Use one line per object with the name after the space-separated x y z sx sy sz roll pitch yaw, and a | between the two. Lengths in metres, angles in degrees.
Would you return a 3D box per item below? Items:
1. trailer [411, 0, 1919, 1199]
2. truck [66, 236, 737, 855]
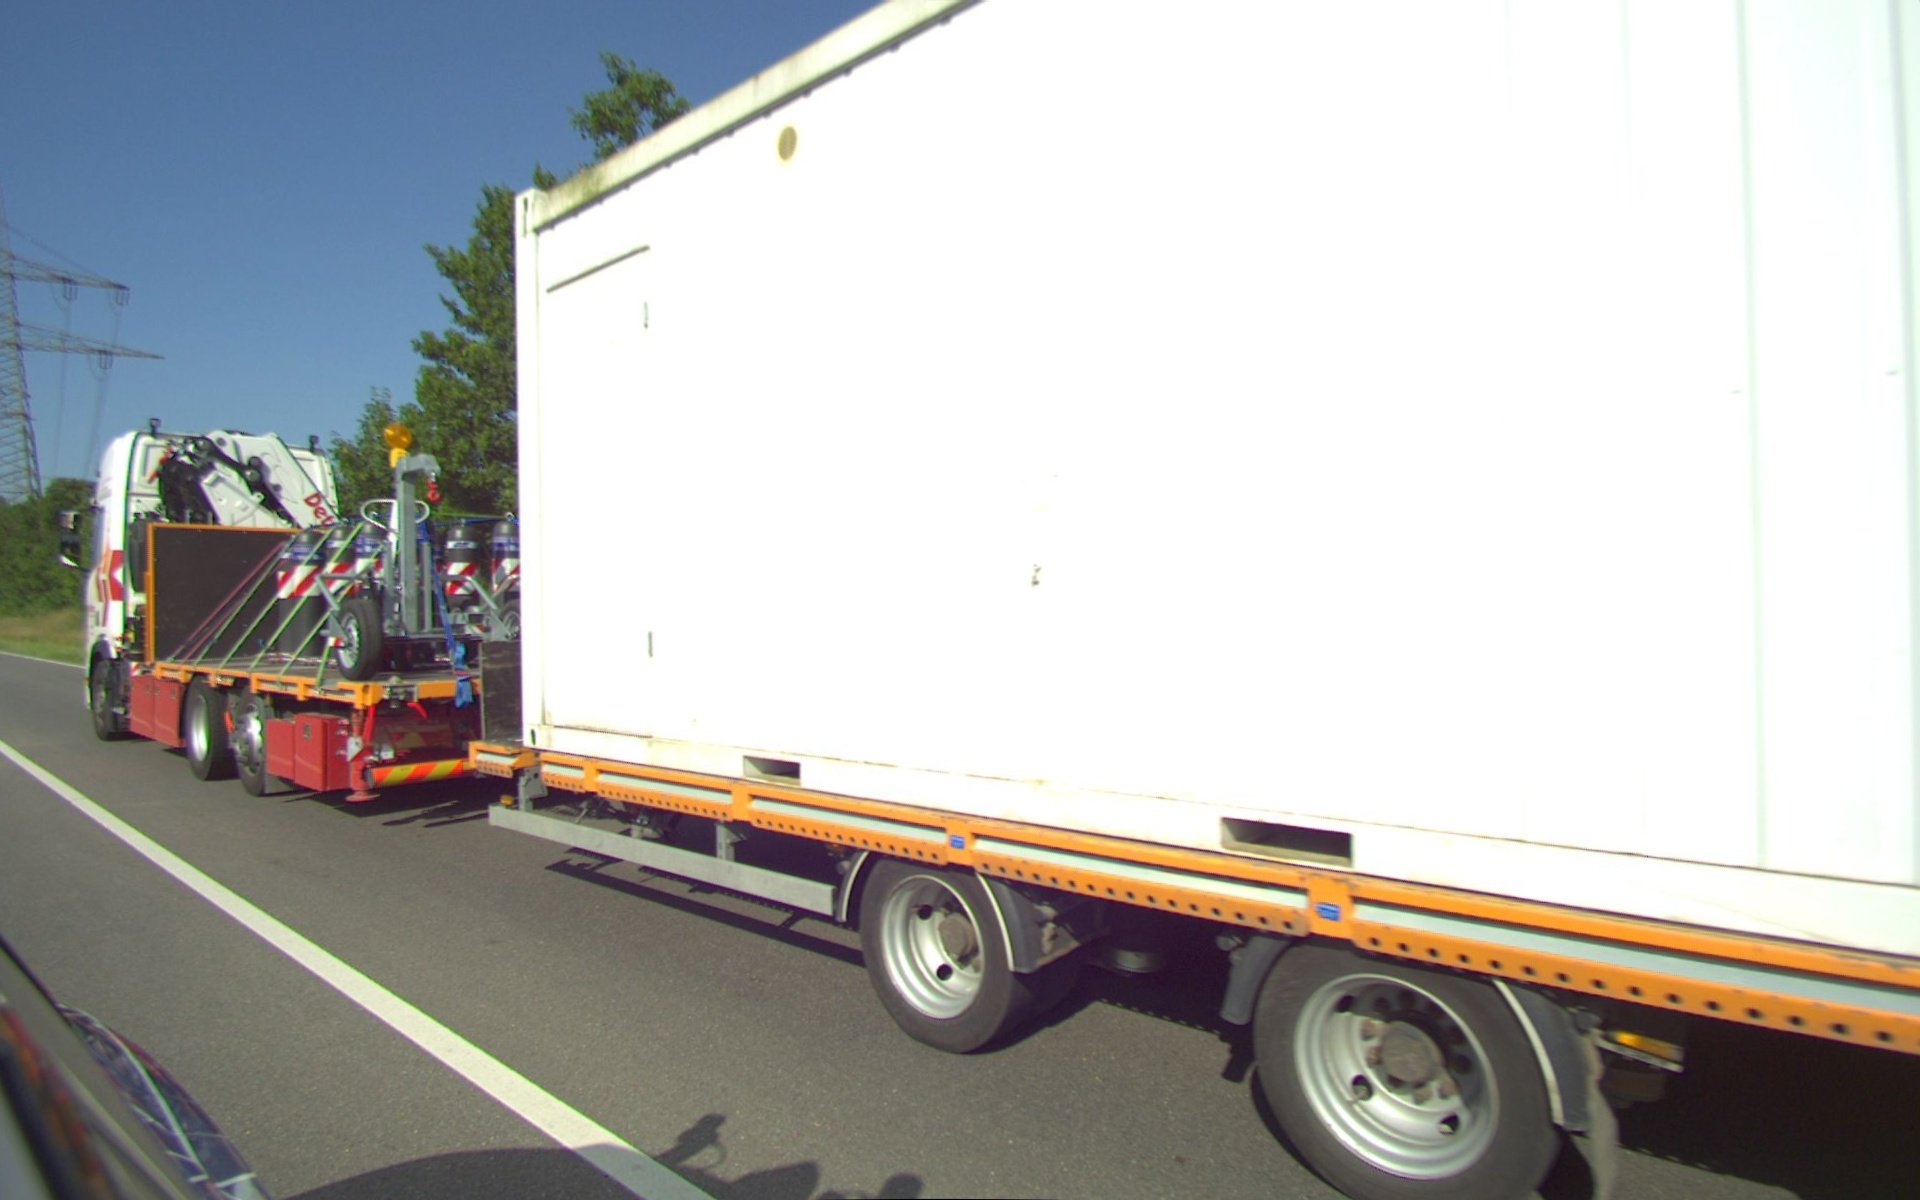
0.847 -0.354 4.041 8.286 3.623 2.533 -1 -1 40 | trailer
-6.582 -0.248 10.452 10.480 3.716 2.533 -1 -1 41 | truck
